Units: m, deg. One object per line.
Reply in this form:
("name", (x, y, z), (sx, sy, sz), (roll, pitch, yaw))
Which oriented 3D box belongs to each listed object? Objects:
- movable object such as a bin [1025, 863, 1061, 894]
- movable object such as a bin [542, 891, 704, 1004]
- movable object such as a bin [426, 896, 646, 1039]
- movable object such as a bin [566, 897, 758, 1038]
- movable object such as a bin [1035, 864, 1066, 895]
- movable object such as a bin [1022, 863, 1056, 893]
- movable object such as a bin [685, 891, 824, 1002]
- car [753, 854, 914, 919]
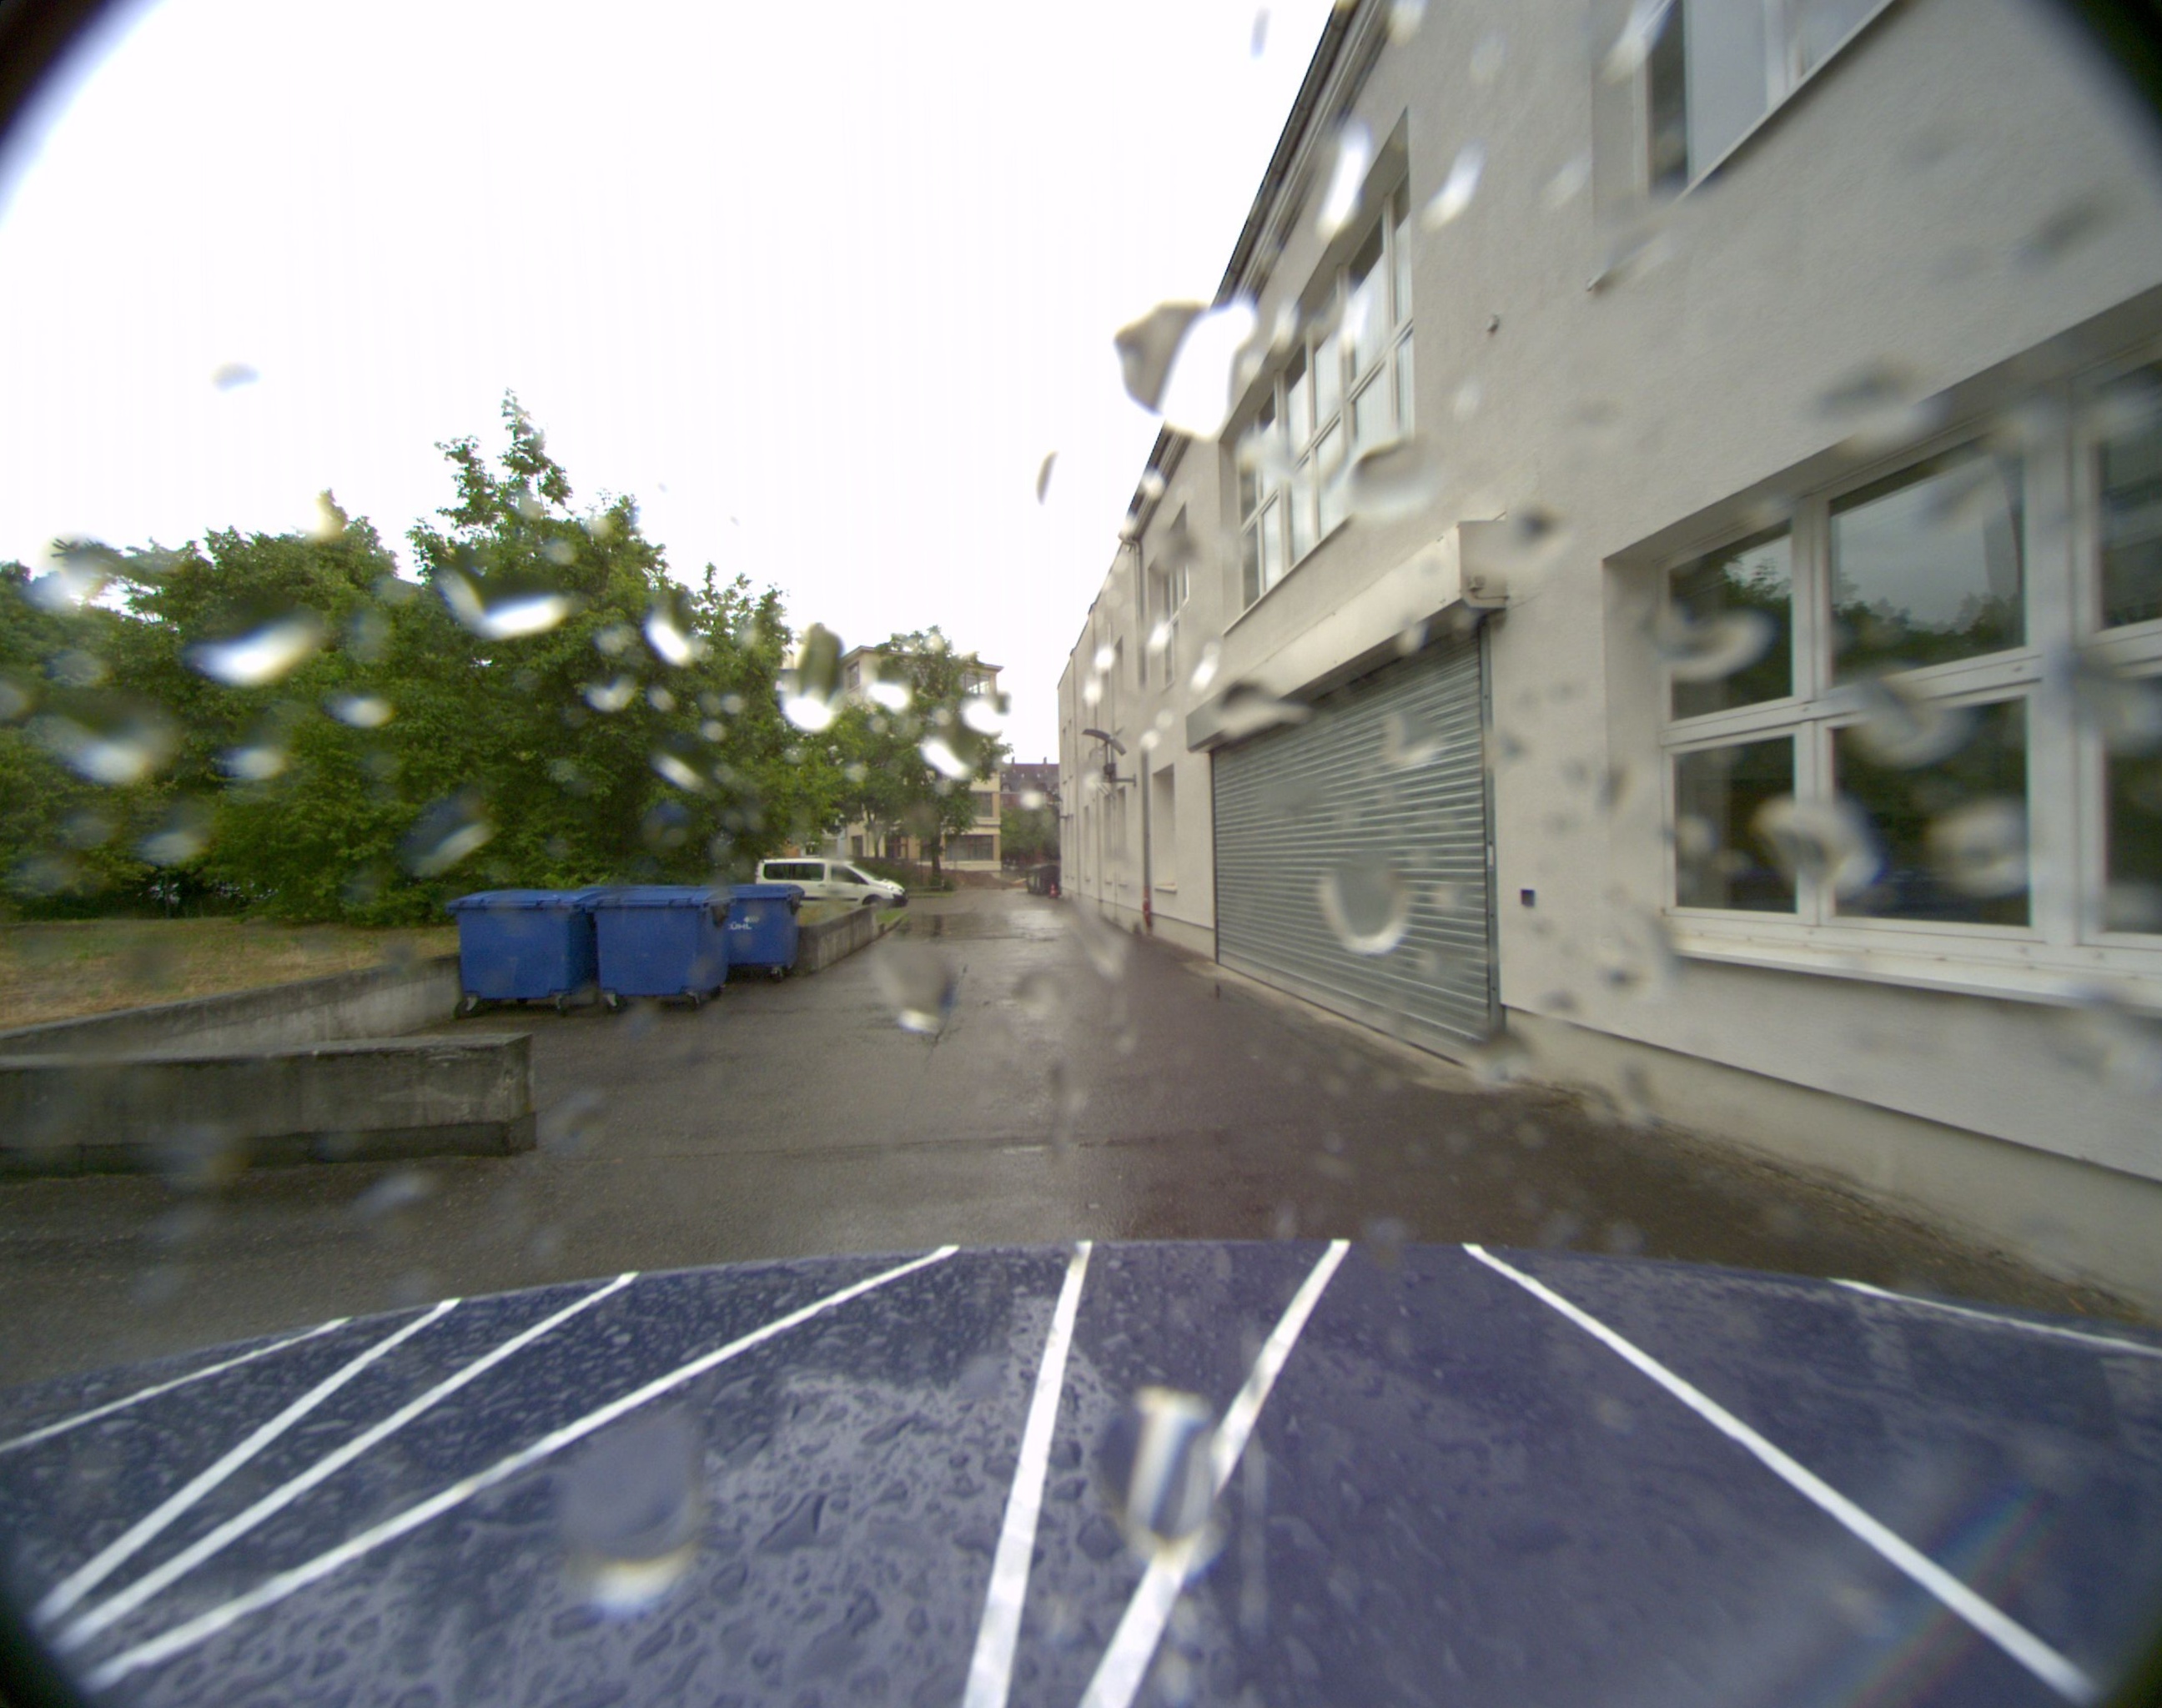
("movable object such as a bin", (-1.867, 1.203, 37.067), (1.493, 1.439, 1.313), (-2, -2, -13))
("movable object such as a bin", (-6.307, 1.227, 10.658), (1.233, 1.349, 1.970), (-2, -2, -8))
("movable object such as a bin", (-6.068, 1.192, 8.674), (1.233, 1.349, 1.970), (-2, -2, -8))
("movable object such as a bin", (-4.758, 1.228, 8.860), (1.313, 1.349, 1.904), (-2, -2, -8))
("movable object such as a bin", (-1.439, 1.203, 35.594), (1.188, 1.365, 1.313), (-2, -2, -13))
("movable object such as a bin", (-2.141, 1.231, 38.387), (1.493, 1.439, 1.313), (-2, -2, -13))
("movable object such as a bin", (-4.558, 1.245, 10.821), (1.313, 1.349, 1.904), (-2, -2, -8))
("car", (-8.114, 1.088, 25.306), (4.696, 1.870, 2.123), (-3, -3, -6))
